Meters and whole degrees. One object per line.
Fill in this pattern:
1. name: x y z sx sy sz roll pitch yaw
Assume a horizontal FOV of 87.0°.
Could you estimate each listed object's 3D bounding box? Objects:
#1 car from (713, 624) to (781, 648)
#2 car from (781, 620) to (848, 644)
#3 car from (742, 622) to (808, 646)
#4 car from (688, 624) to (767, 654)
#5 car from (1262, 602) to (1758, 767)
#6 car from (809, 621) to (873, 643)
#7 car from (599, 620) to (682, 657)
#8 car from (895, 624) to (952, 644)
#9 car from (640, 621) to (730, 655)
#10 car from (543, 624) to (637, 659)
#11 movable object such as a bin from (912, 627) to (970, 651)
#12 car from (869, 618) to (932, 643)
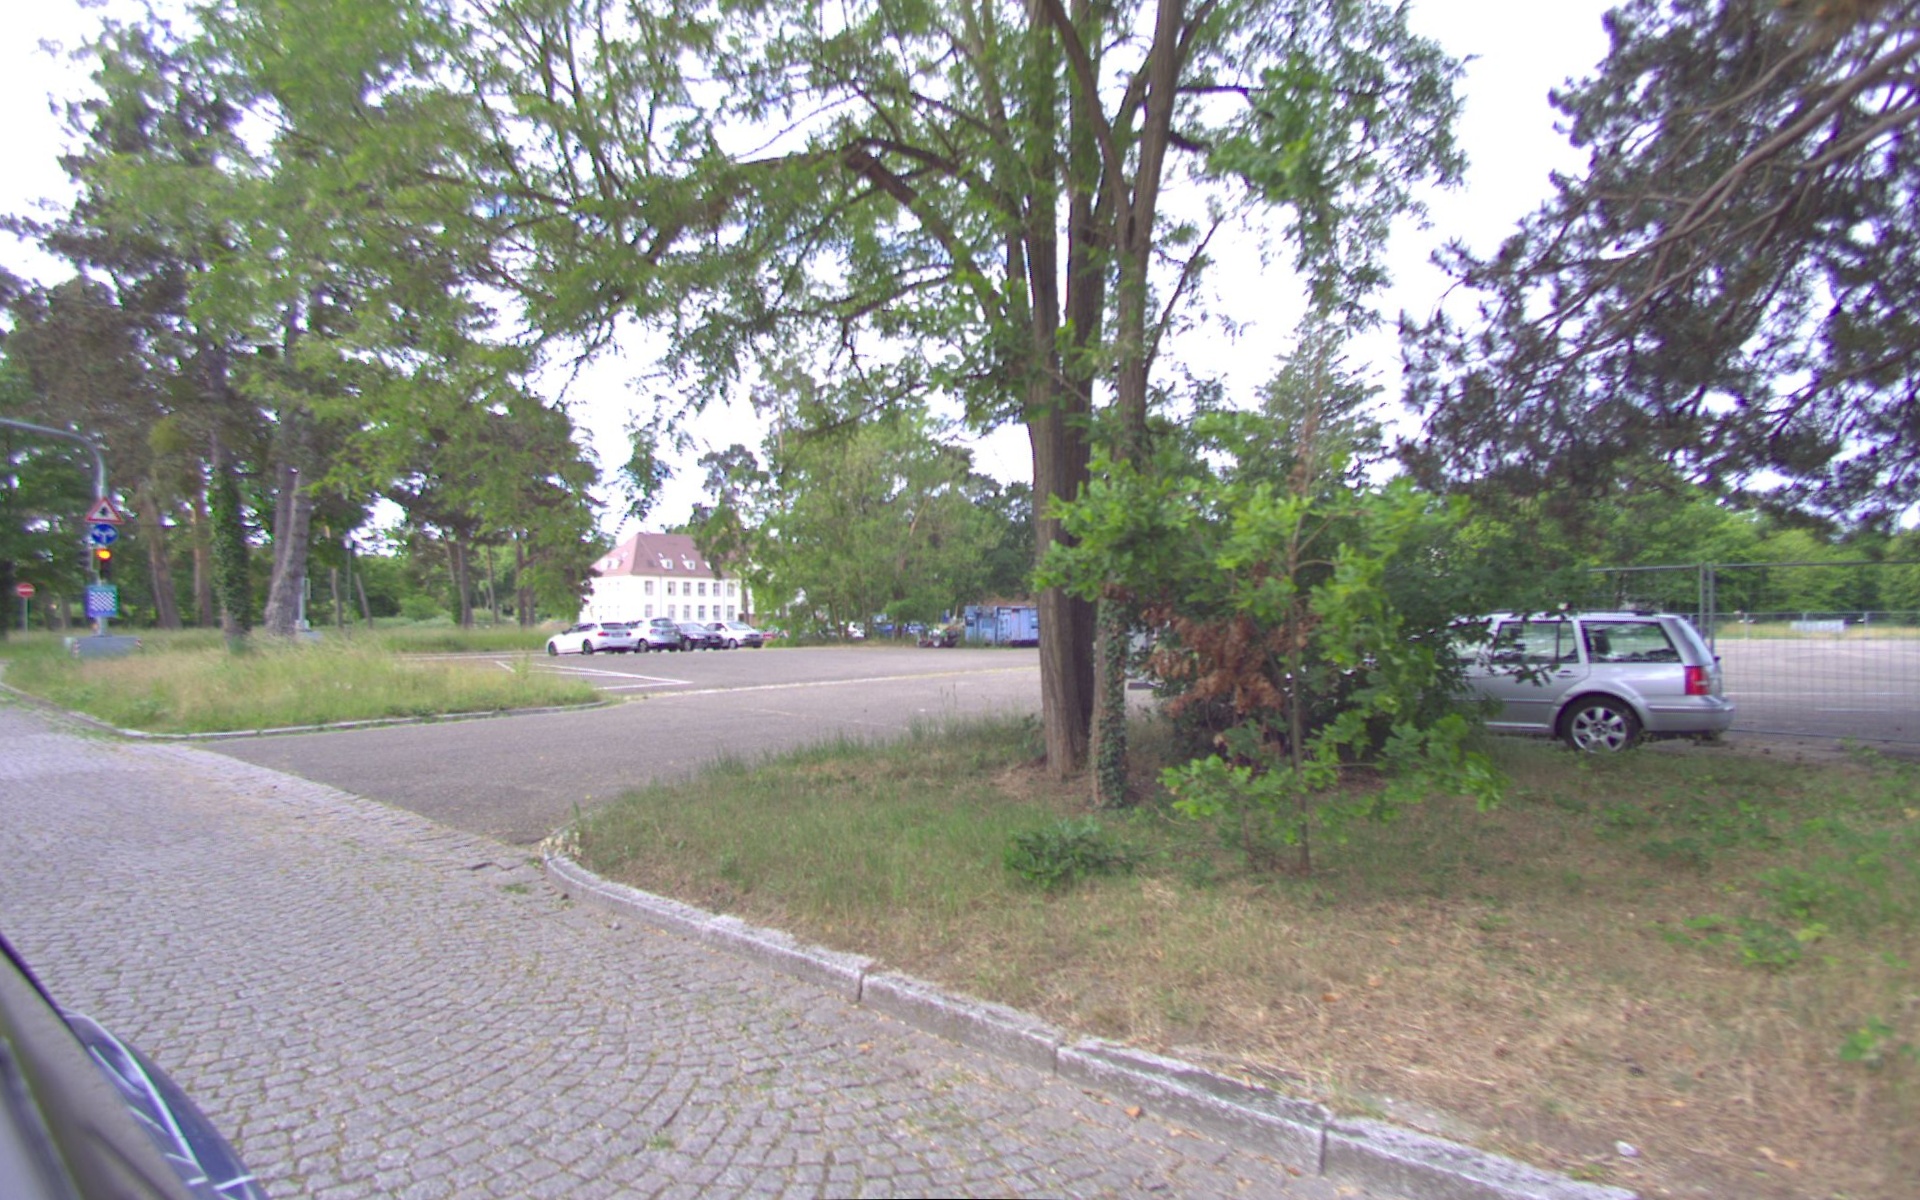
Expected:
1. car: -13.405 2.245 63.483 4.397 1.486 1.807 -2 -2 38
2. car: -9.707 2.113 67.410 4.394 1.486 1.808 -2 1 36
3. car: -12.030 2.189 65.629 4.397 1.486 1.807 -2 -2 38
4. car: -11.461 1.900 49.782 4.032 1.410 1.617 -2 -2 38
5. car: 5.709 0.828 10.836 4.416 1.427 1.806 -2 -4 39
6. car: -8.225 2.214 69.953 4.394 1.486 1.808 -2 -2 36
7. car: -14.268 1.735 45.102 3.894 1.532 1.653 -4 -3 38
8. car: -2.739 2.534 75.409 4.187 1.486 1.806 -2 -2 41
9. car: -12.899 1.769 47.346 4.397 1.486 1.807 -2 -2 38
10. car: -15.834 1.750 43.183 4.315 1.436 1.807 -2 -2 38
11. movable object such as a bin: -0.802 1.618 42.094 1.953 0.976 1.431 -1 -1 34
12. car: -4.363 2.234 73.491 4.579 1.736 1.806 -2 -2 41
